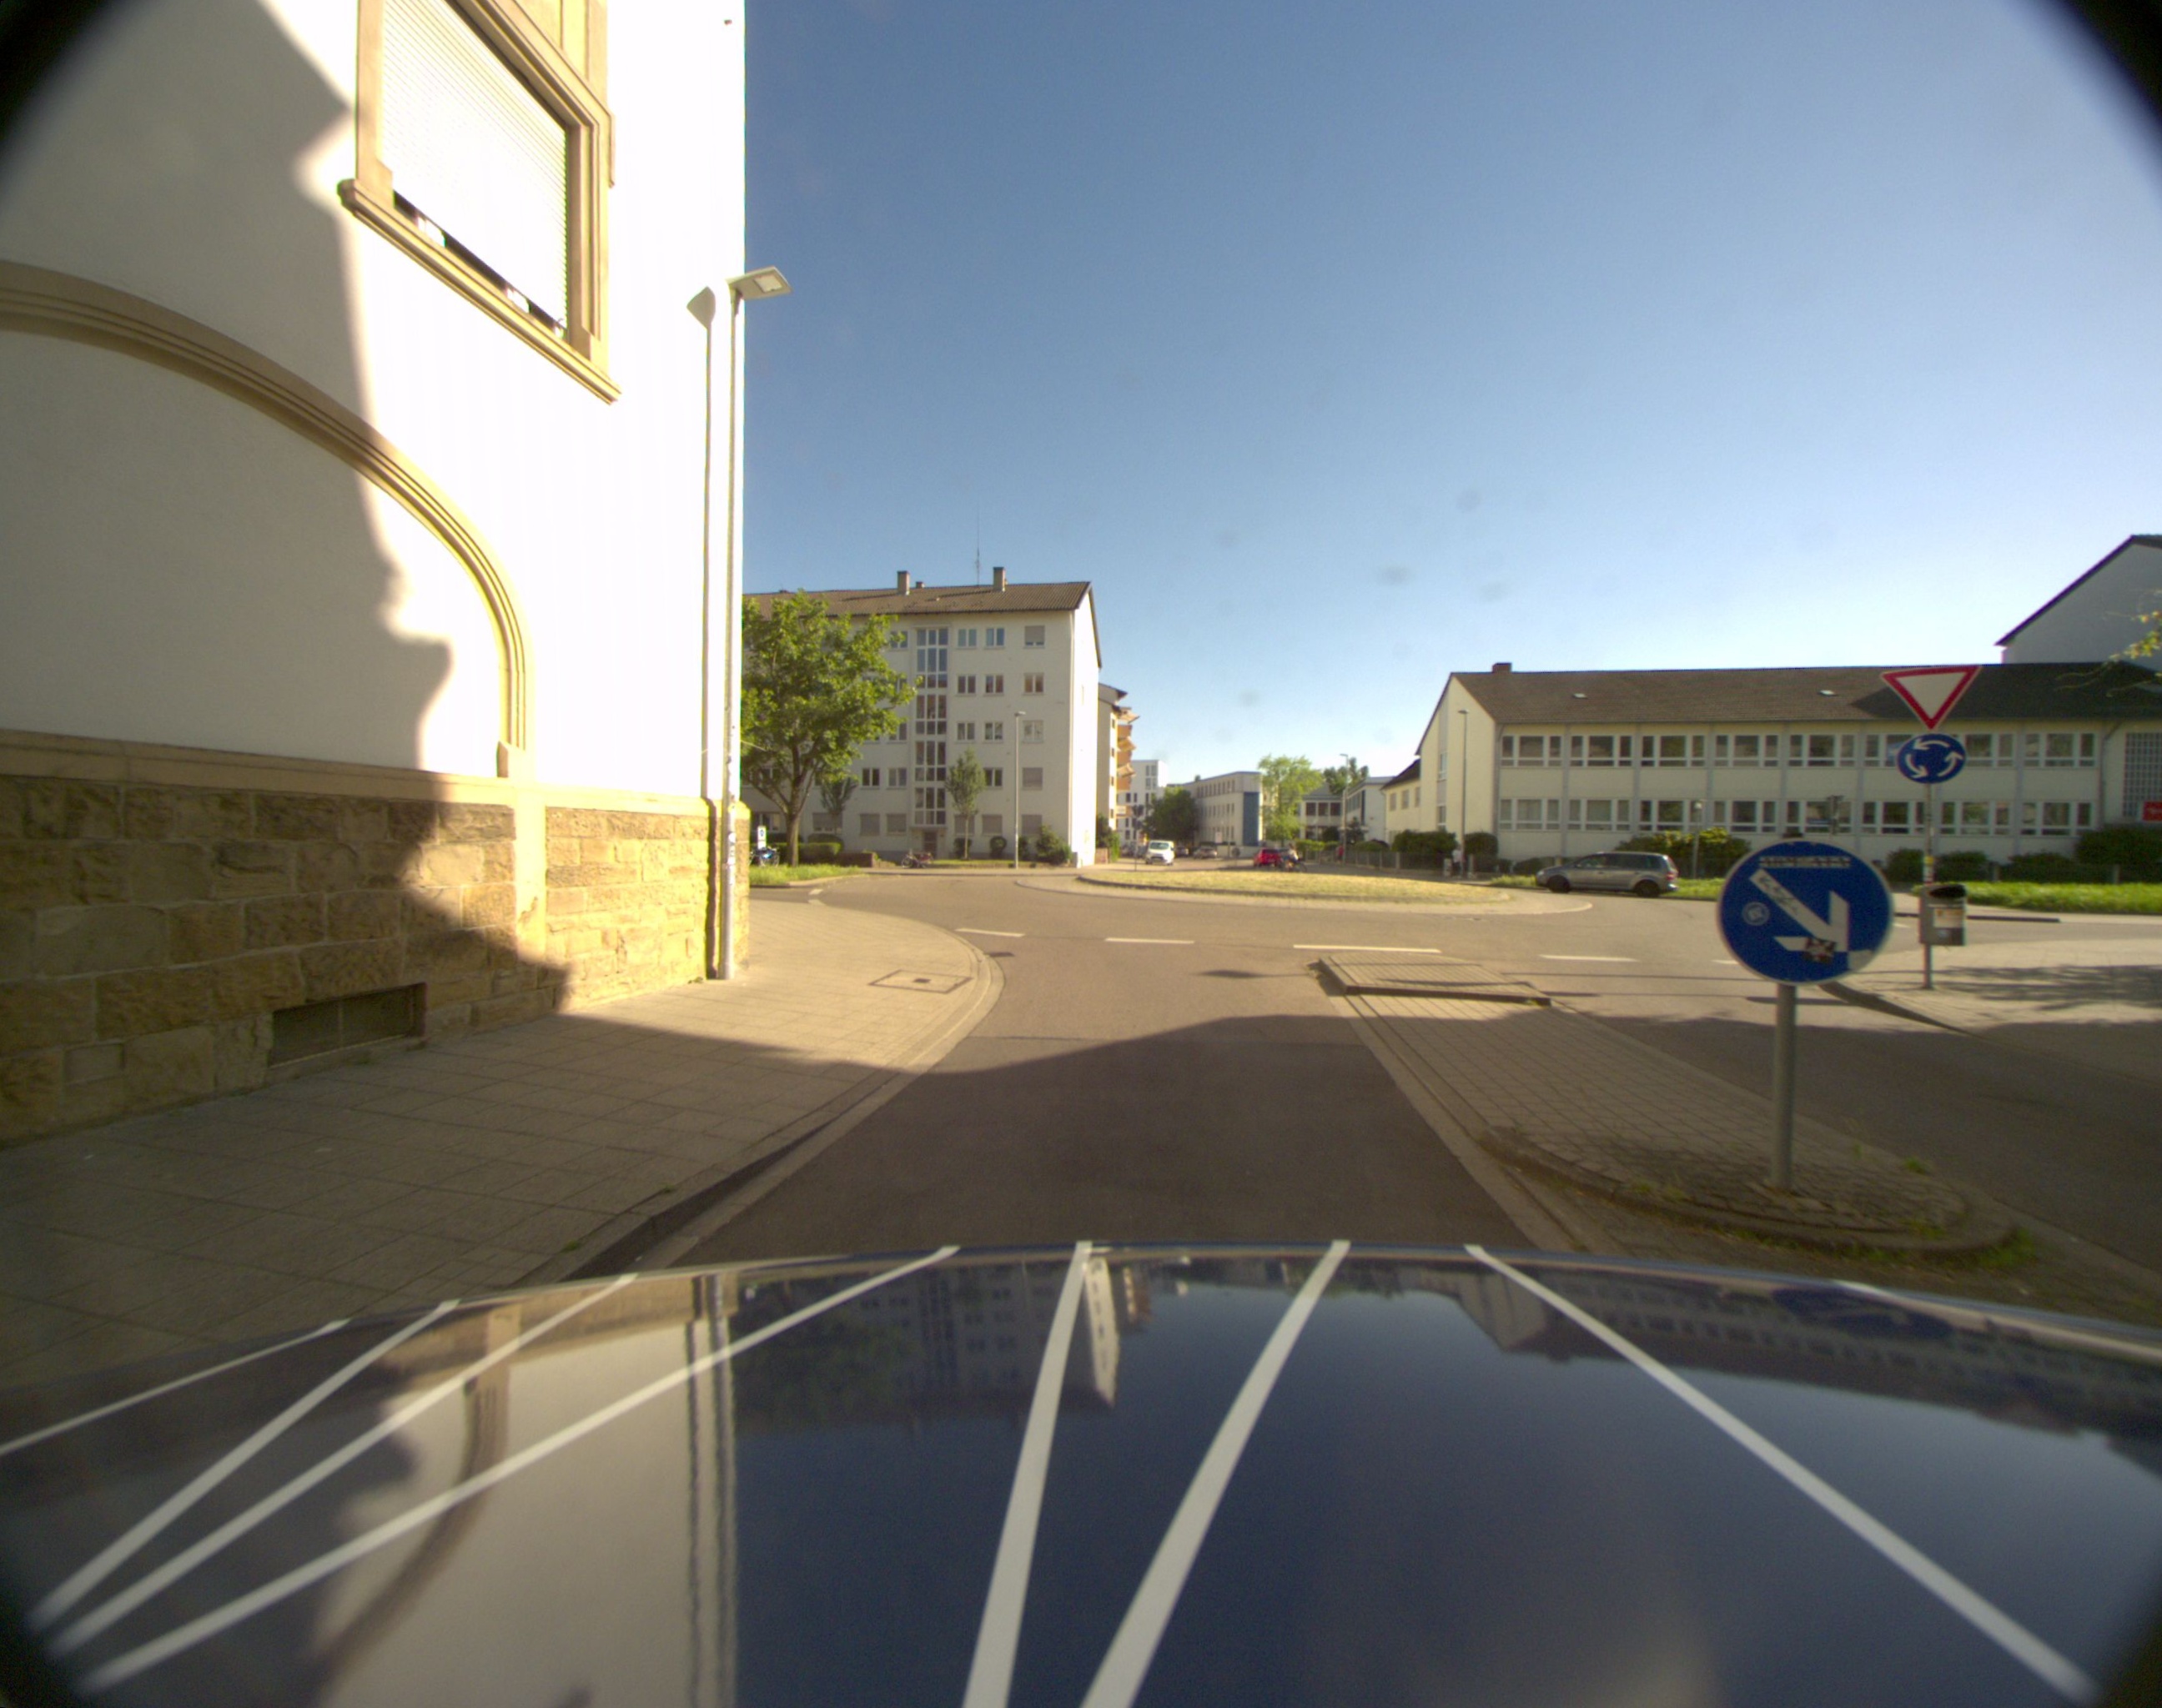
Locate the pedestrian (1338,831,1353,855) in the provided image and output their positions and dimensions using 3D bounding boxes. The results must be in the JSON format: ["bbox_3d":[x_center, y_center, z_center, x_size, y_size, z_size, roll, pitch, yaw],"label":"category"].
[{"bbox_3d":[19.124,-0.823,55.023,0.818,1.696,0.997,-1,2,6],"label":"pedestrian"}]

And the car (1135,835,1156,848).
[{"bbox_3d":[7.789,-1.531,92.506,1.758,1.446,3.996,3,1,-6],"label":"car"}]

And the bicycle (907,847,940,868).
[{"bbox_3d":[-8.269,0.180,39.820,1.623,1.073,0.384,0,4,2],"label":"bicycle"}]

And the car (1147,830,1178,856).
[{"bbox_3d":[6.716,-0.936,62.158,1.996,2.002,4.800,3,2,11],"label":"car"}]

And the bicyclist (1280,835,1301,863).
[{"bbox_3d":[9.952,-0.239,36.103,0.823,1.305,0.812,-1,2,24],"label":"bicyclist"}]

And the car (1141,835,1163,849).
[{"bbox_3d":[8.182,-1.423,88.019,1.758,1.446,3.997,3,1,-5],"label":"car"}]

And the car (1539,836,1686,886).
[{"bbox_3d":[19.457,0.226,27.914,4.261,1.686,1.885,0,1,40],"label":"car"}]

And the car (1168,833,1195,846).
[{"bbox_3d":[13.810,-1.982,104.755,2.139,1.604,4.829,-2,2,-11],"label":"car"}]

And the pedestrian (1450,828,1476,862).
[{"bbox_3d":[19.418,-0.439,38.628,0.994,1.696,0.693,0,3,43],"label":"pedestrian"}]

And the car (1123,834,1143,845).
[{"bbox_3d":[8.920,-2.557,130.597,2.139,1.800,4.829,-2,2,-11],"label":"car"}]

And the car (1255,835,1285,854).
[{"bbox_3d":[13.946,-0.697,56.237,1.715,1.374,4.002,1,1,7],"label":"car"}]

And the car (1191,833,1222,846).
[{"bbox_3d":[15.685,-1.815,95.111,2.140,1.604,4.829,-2,2,-13],"label":"car"}]

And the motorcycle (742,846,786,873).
[{"bbox_3d":[-13.087,0.205,31.419,0.813,1.066,1.846,0,1,8],"label":"motorcycle"}]

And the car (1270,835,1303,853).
[{"bbox_3d":[17.650,-0.877,65.505,1.884,1.426,4.414,-2,1,3],"label":"car"}]

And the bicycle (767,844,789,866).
[{"bbox_3d":[-15.395,0.034,38.654,0.330,1.051,1.450,0,4,6],"label":"bicycle"}]

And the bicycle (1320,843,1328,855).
[{"bbox_3d":[21.115,-0.444,66.099,0.345,1.010,1.263,0,2,4],"label":"bicycle"}]

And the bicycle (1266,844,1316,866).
[{"bbox_3d":[9.984,0.053,36.106,2.205,1.009,0.812,-1,2,24],"label":"bicycle"}]
